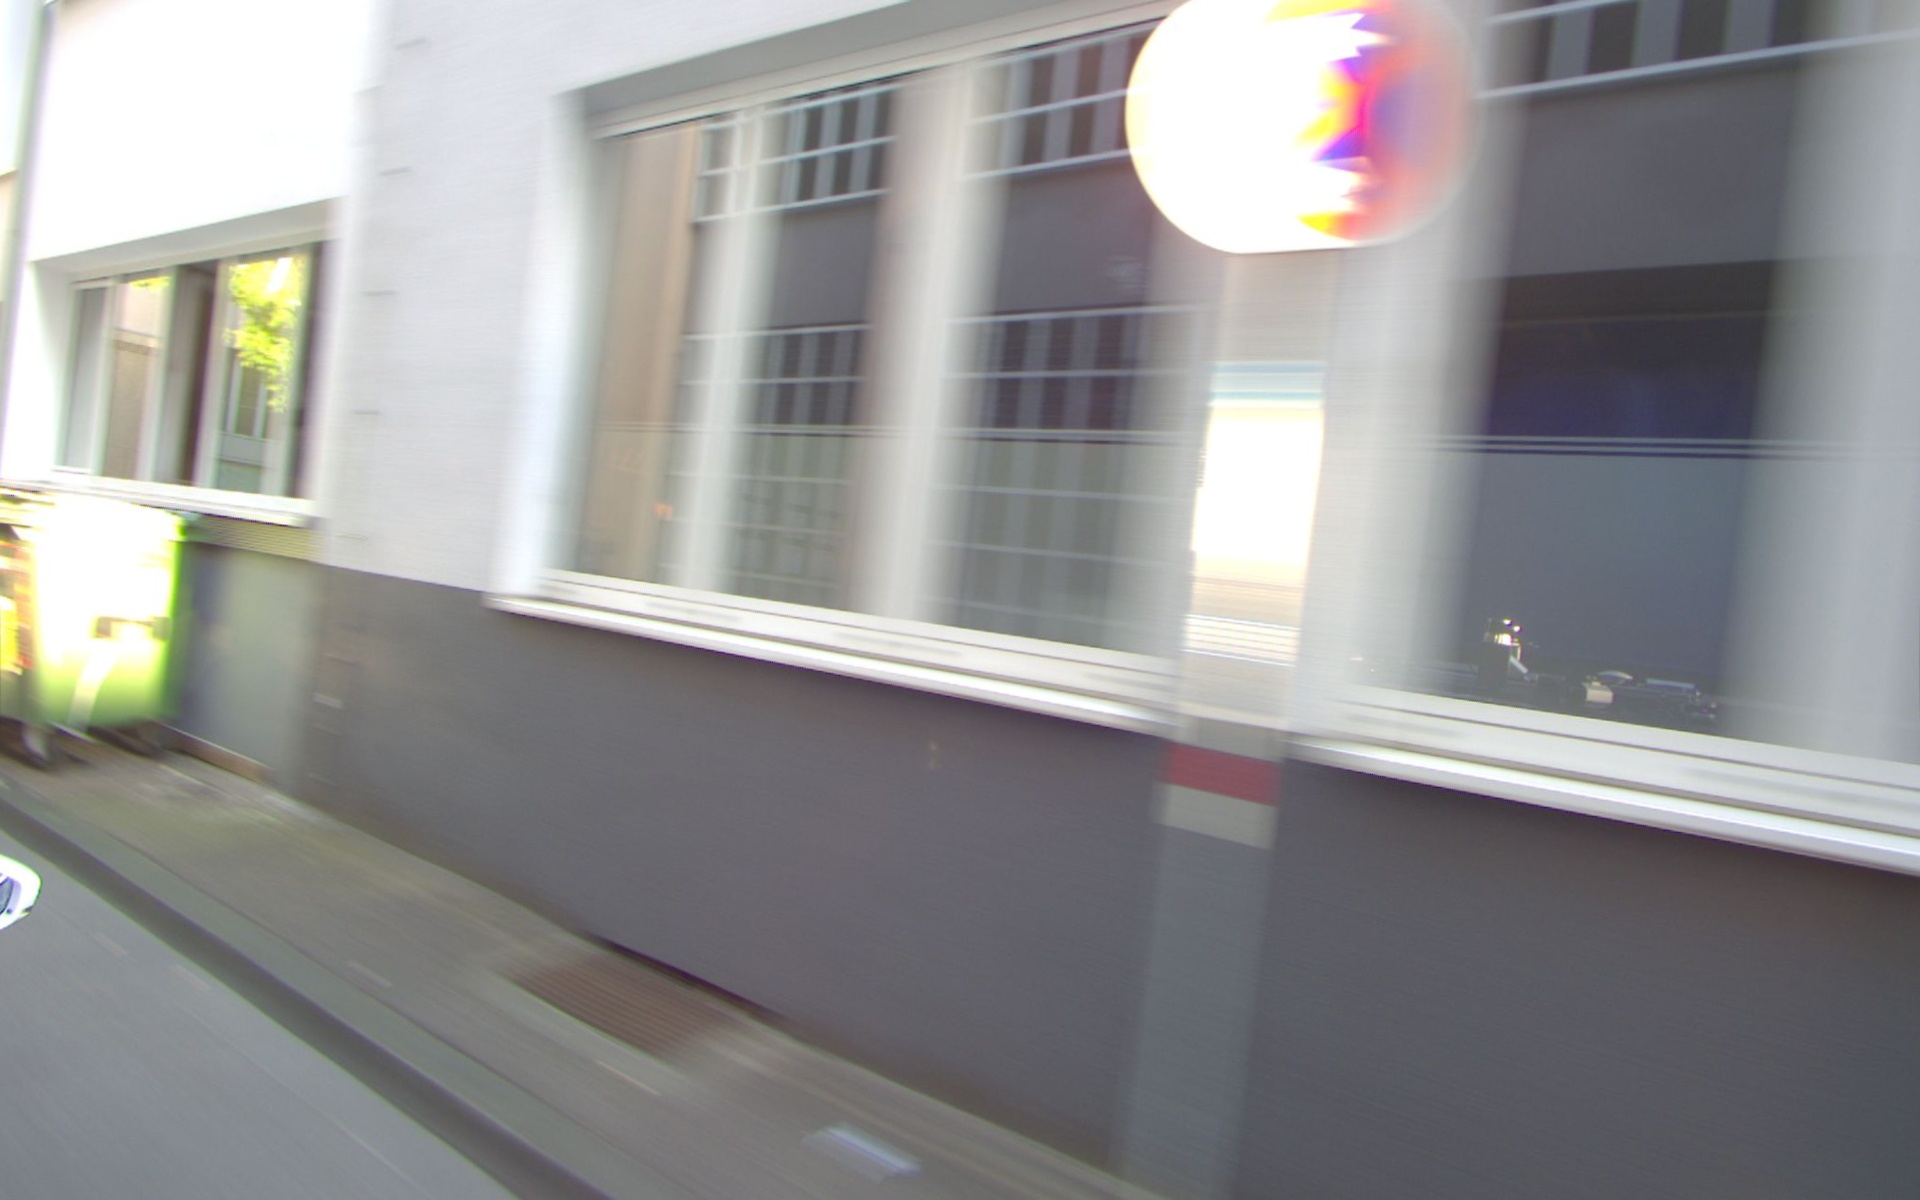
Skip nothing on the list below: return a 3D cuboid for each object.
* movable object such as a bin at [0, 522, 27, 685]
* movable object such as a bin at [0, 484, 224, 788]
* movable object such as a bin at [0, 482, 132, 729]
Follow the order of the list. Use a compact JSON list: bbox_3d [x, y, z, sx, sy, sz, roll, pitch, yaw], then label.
[{"bbox_3d":[-6.949,-0.014,6.698,0.726,1.089,0.869,7,2,30],"label":"movable object such as a bin"},{"bbox_3d":[-4.789,0.121,5.266,1.318,1.385,0.938,7,2,26],"label":"movable object such as a bin"},{"bbox_3d":[-5.938,-0.025,6.020,1.319,1.385,1.065,7,2,30],"label":"movable object such as a bin"}]
